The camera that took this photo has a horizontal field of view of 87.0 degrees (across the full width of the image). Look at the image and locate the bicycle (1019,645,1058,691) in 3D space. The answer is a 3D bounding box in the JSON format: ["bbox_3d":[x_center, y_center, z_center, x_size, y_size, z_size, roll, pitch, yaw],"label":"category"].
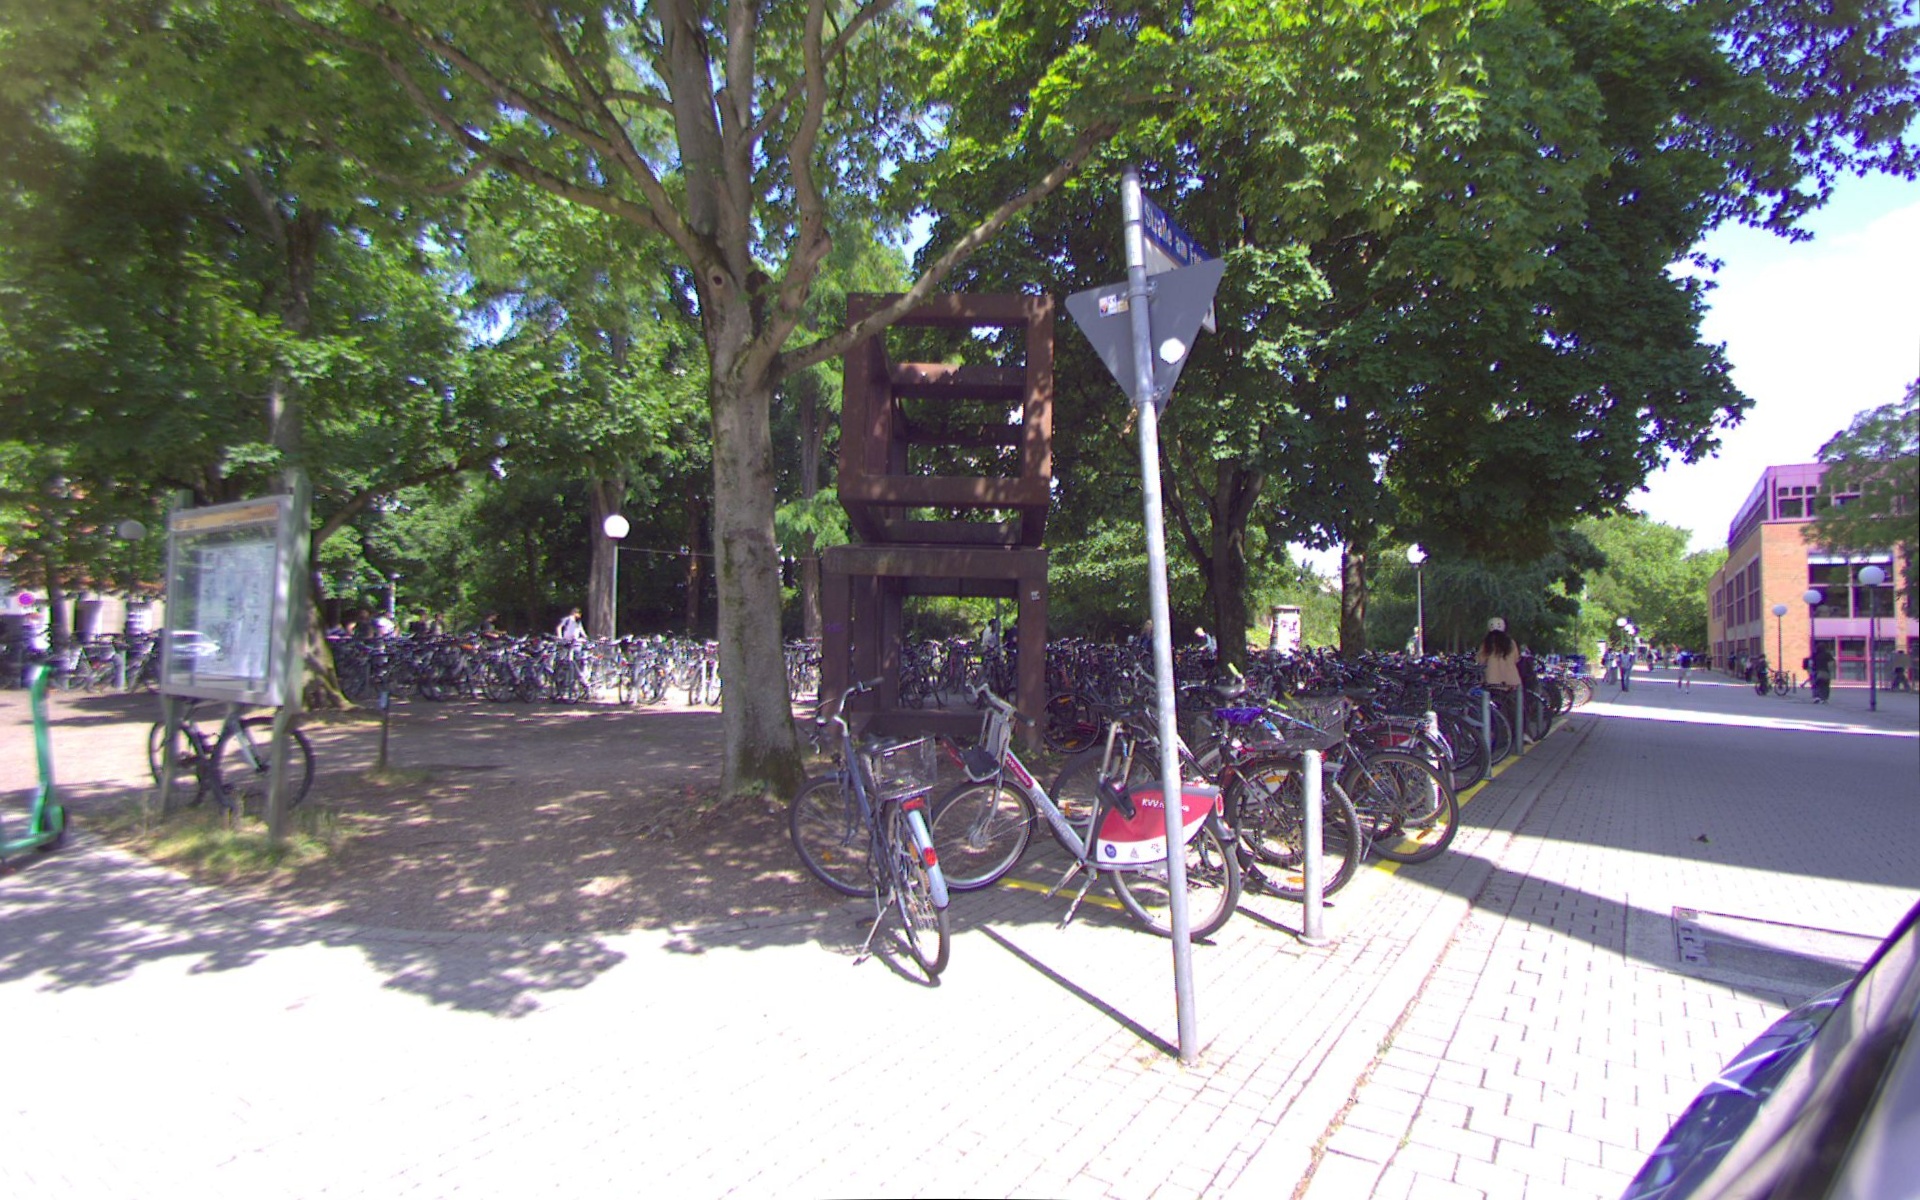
[{"bbox_3d":[1.966,1.702,25.421,0.345,1.098,1.474,4,-4,-20],"label":"bicycle"}]

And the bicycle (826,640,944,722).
[{"bbox_3d":[-1.059,1.137,14.351,1.638,1.124,0.475,0,-3,-1],"label":"bicycle"}]

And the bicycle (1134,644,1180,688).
[{"bbox_3d":[5.206,1.728,26.769,0.345,1.098,1.474,5,-4,-25],"label":"bicycle"}]

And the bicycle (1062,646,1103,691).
[{"bbox_3d":[3.131,1.752,26.006,0.345,1.098,1.474,4,-4,-21],"label":"bicycle"}]

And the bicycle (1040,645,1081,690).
[{"bbox_3d":[2.535,1.696,25.606,0.345,1.098,1.474,4,-4,-21],"label":"bicycle"}]

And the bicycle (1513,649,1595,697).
[{"bbox_3d":[14.692,1.798,25.052,0.520,1.098,1.683,6,-5,-44],"label":"bicycle"}]

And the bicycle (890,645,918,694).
[{"bbox_3d":[-1.273,1.540,22.785,0.469,0.991,1.906,0,-1,-8],"label":"bicycle"}]

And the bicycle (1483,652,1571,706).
[{"bbox_3d":[12.548,1.738,22.429,1.674,1.098,0.473,1,-4,31],"label":"bicycle"}]

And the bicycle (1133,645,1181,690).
[{"bbox_3d":[5.087,1.736,26.186,0.345,1.098,1.473,5,-4,-28],"label":"bicycle"}]

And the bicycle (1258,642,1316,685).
[{"bbox_3d":[8.746,1.691,27.112,0.468,1.098,1.691,4,-4,-22],"label":"bicycle"}]

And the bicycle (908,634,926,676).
[{"bbox_3d":[-1.073,1.361,25.197,0.396,0.991,1.597,0,-1,-4],"label":"bicycle"}]

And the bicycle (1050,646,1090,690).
[{"bbox_3d":[2.806,1.724,25.877,0.345,1.098,1.474,4,-4,-21],"label":"bicycle"}]

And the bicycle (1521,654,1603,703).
[{"bbox_3d":[14.459,1.881,24.351,1.674,1.098,0.523,1,-4,31],"label":"bicycle"}]

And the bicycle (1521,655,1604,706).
[{"bbox_3d":[14.200,1.883,23.889,1.674,1.098,0.523,1,-4,31],"label":"bicycle"}]

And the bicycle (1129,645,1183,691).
[{"bbox_3d":[4.571,1.571,23.698,0.468,0.991,1.907,0,-1,-15],"label":"bicycle"}]

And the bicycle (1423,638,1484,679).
[{"bbox_3d":[13.881,1.640,28.506,0.468,1.098,1.691,4,-4,-18],"label":"bicycle"}]

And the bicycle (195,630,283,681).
[{"bbox_3d":[-15.824,1.211,22.209,1.876,1.096,0.476,-1,-2,15],"label":"bicycle"}]

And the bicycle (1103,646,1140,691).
[{"bbox_3d":[4.144,1.745,25.982,0.345,1.098,1.474,4,-4,-14],"label":"bicycle"}]

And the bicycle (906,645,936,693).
[{"bbox_3d":[-0.887,1.539,22.858,0.469,0.991,1.906,0,-1,-8],"label":"bicycle"}]

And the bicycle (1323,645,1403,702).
[{"bbox_3d":[8.130,1.465,20.418,1.460,1.098,0.348,-1,-3,32],"label":"bicycle"}]

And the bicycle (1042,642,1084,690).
[{"bbox_3d":[2.319,1.477,23.012,0.469,0.991,1.906,0,-1,-10],"label":"bicycle"}]

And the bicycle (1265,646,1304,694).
[{"bbox_3d":[7.847,1.683,24.507,0.445,1.098,1.470,3,-4,0],"label":"bicycle"}]

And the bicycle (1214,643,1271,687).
[{"bbox_3d":[7.480,1.703,26.856,0.468,1.098,1.691,4,-4,-22],"label":"bicycle"}]

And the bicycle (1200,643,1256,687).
[{"bbox_3d":[7.042,1.708,26.671,0.468,1.098,1.691,4,-4,-22],"label":"bicycle"}]

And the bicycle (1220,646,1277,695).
[{"bbox_3d":[6.842,1.664,24.048,0.468,1.098,1.474,4,-4,-22],"label":"bicycle"}]

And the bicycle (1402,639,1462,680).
[{"bbox_3d":[13.132,1.650,28.195,0.468,1.098,1.691,4,-4,-18],"label":"bicycle"}]

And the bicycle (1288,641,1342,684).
[{"bbox_3d":[9.619,1.684,27.479,0.468,1.098,1.691,4,-4,-16],"label":"bicycle"}]

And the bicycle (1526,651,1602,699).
[{"bbox_3d":[15.622,1.935,26.221,1.674,1.165,0.545,1,-4,31],"label":"bicycle"}]

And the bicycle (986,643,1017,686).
[{"bbox_3d":[1.044,1.615,25.660,0.371,0.991,1.805,0,-1,-11],"label":"bicycle"}]

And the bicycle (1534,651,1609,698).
[{"bbox_3d":[16.080,1.953,26.636,1.674,1.165,0.545,1,-4,31],"label":"bicycle"}]

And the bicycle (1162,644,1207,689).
[{"bbox_3d":[5.862,1.727,26.487,0.469,1.098,1.690,3,-4,-11],"label":"bicycle"}]

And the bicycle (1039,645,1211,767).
[{"bbox_3d":[1.690,1.062,10.592,1.821,1.091,0.456,1,0,43],"label":"bicycle"}]

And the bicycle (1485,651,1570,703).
[{"bbox_3d":[13.000,1.753,23.203,1.674,1.098,0.473,1,-4,31],"label":"bicycle"}]

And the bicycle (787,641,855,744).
[{"bbox_3d":[-1.630,1.058,12.102,0.620,1.124,1.924,0,-2,-2],"label":"bicycle"}]

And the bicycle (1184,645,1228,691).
[{"bbox_3d":[5.756,1.566,23.728,0.469,0.991,1.904,0,-1,-3],"label":"bicycle"}]

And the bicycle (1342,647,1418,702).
[{"bbox_3d":[8.797,1.555,21.209,1.455,1.098,0.350,0,-3,23],"label":"bicycle"}]

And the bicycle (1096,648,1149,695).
[{"bbox_3d":[3.758,1.632,23.555,0.468,0.991,1.907,0,-1,-15],"label":"bicycle"}]

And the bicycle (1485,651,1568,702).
[{"bbox_3d":[13.294,1.788,23.770,1.674,1.098,0.523,1,-4,31],"label":"bicycle"}]

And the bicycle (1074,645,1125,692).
[{"bbox_3d":[3.190,1.555,23.308,0.468,0.991,1.907,0,-1,-15],"label":"bicycle"}]

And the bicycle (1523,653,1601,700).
[{"bbox_3d":[15.201,1.923,25.587,1.674,1.098,0.523,1,-4,31],"label":"bicycle"}]

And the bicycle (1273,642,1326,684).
[{"bbox_3d":[9.155,1.689,27.337,0.468,1.098,1.691,4,-4,-16],"label":"bicycle"}]

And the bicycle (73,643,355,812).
[{"bbox_3d":[-5.213,0.884,7.103,1.662,1.098,0.626,-2,-5,12],"label":"bicycle"}]

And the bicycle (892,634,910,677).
[{"bbox_3d":[-1.474,1.364,25.178,0.396,0.991,1.597,0,-1,-4],"label":"bicycle"}]

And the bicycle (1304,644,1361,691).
[{"bbox_3d":[9.213,1.658,25.071,0.345,1.098,1.473,5,-4,-27],"label":"bicycle"}]

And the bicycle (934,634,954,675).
[{"bbox_3d":[-0.413,1.353,25.450,0.396,0.991,1.597,0,-1,-4],"label":"bicycle"}]

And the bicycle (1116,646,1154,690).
[{"bbox_3d":[4.492,1.742,26.068,0.345,1.098,1.474,4,-4,-14],"label":"bicycle"}]

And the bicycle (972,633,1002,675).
[{"bbox_3d":[0.677,1.351,25.606,0.371,0.991,1.805,0,-1,-11],"label":"bicycle"}]

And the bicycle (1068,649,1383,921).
[{"bbox_3d":[1.352,0.874,5.254,1.479,1.156,0.555,1,0,33],"label":"bicycle"}]

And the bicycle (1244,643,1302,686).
[{"bbox_3d":[8.307,1.696,26.925,0.468,1.098,1.691,4,-4,-22],"label":"bicycle"}]

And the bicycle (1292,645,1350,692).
[{"bbox_3d":[8.866,1.662,24.893,0.345,1.098,1.473,5,-4,-27],"label":"bicycle"}]
